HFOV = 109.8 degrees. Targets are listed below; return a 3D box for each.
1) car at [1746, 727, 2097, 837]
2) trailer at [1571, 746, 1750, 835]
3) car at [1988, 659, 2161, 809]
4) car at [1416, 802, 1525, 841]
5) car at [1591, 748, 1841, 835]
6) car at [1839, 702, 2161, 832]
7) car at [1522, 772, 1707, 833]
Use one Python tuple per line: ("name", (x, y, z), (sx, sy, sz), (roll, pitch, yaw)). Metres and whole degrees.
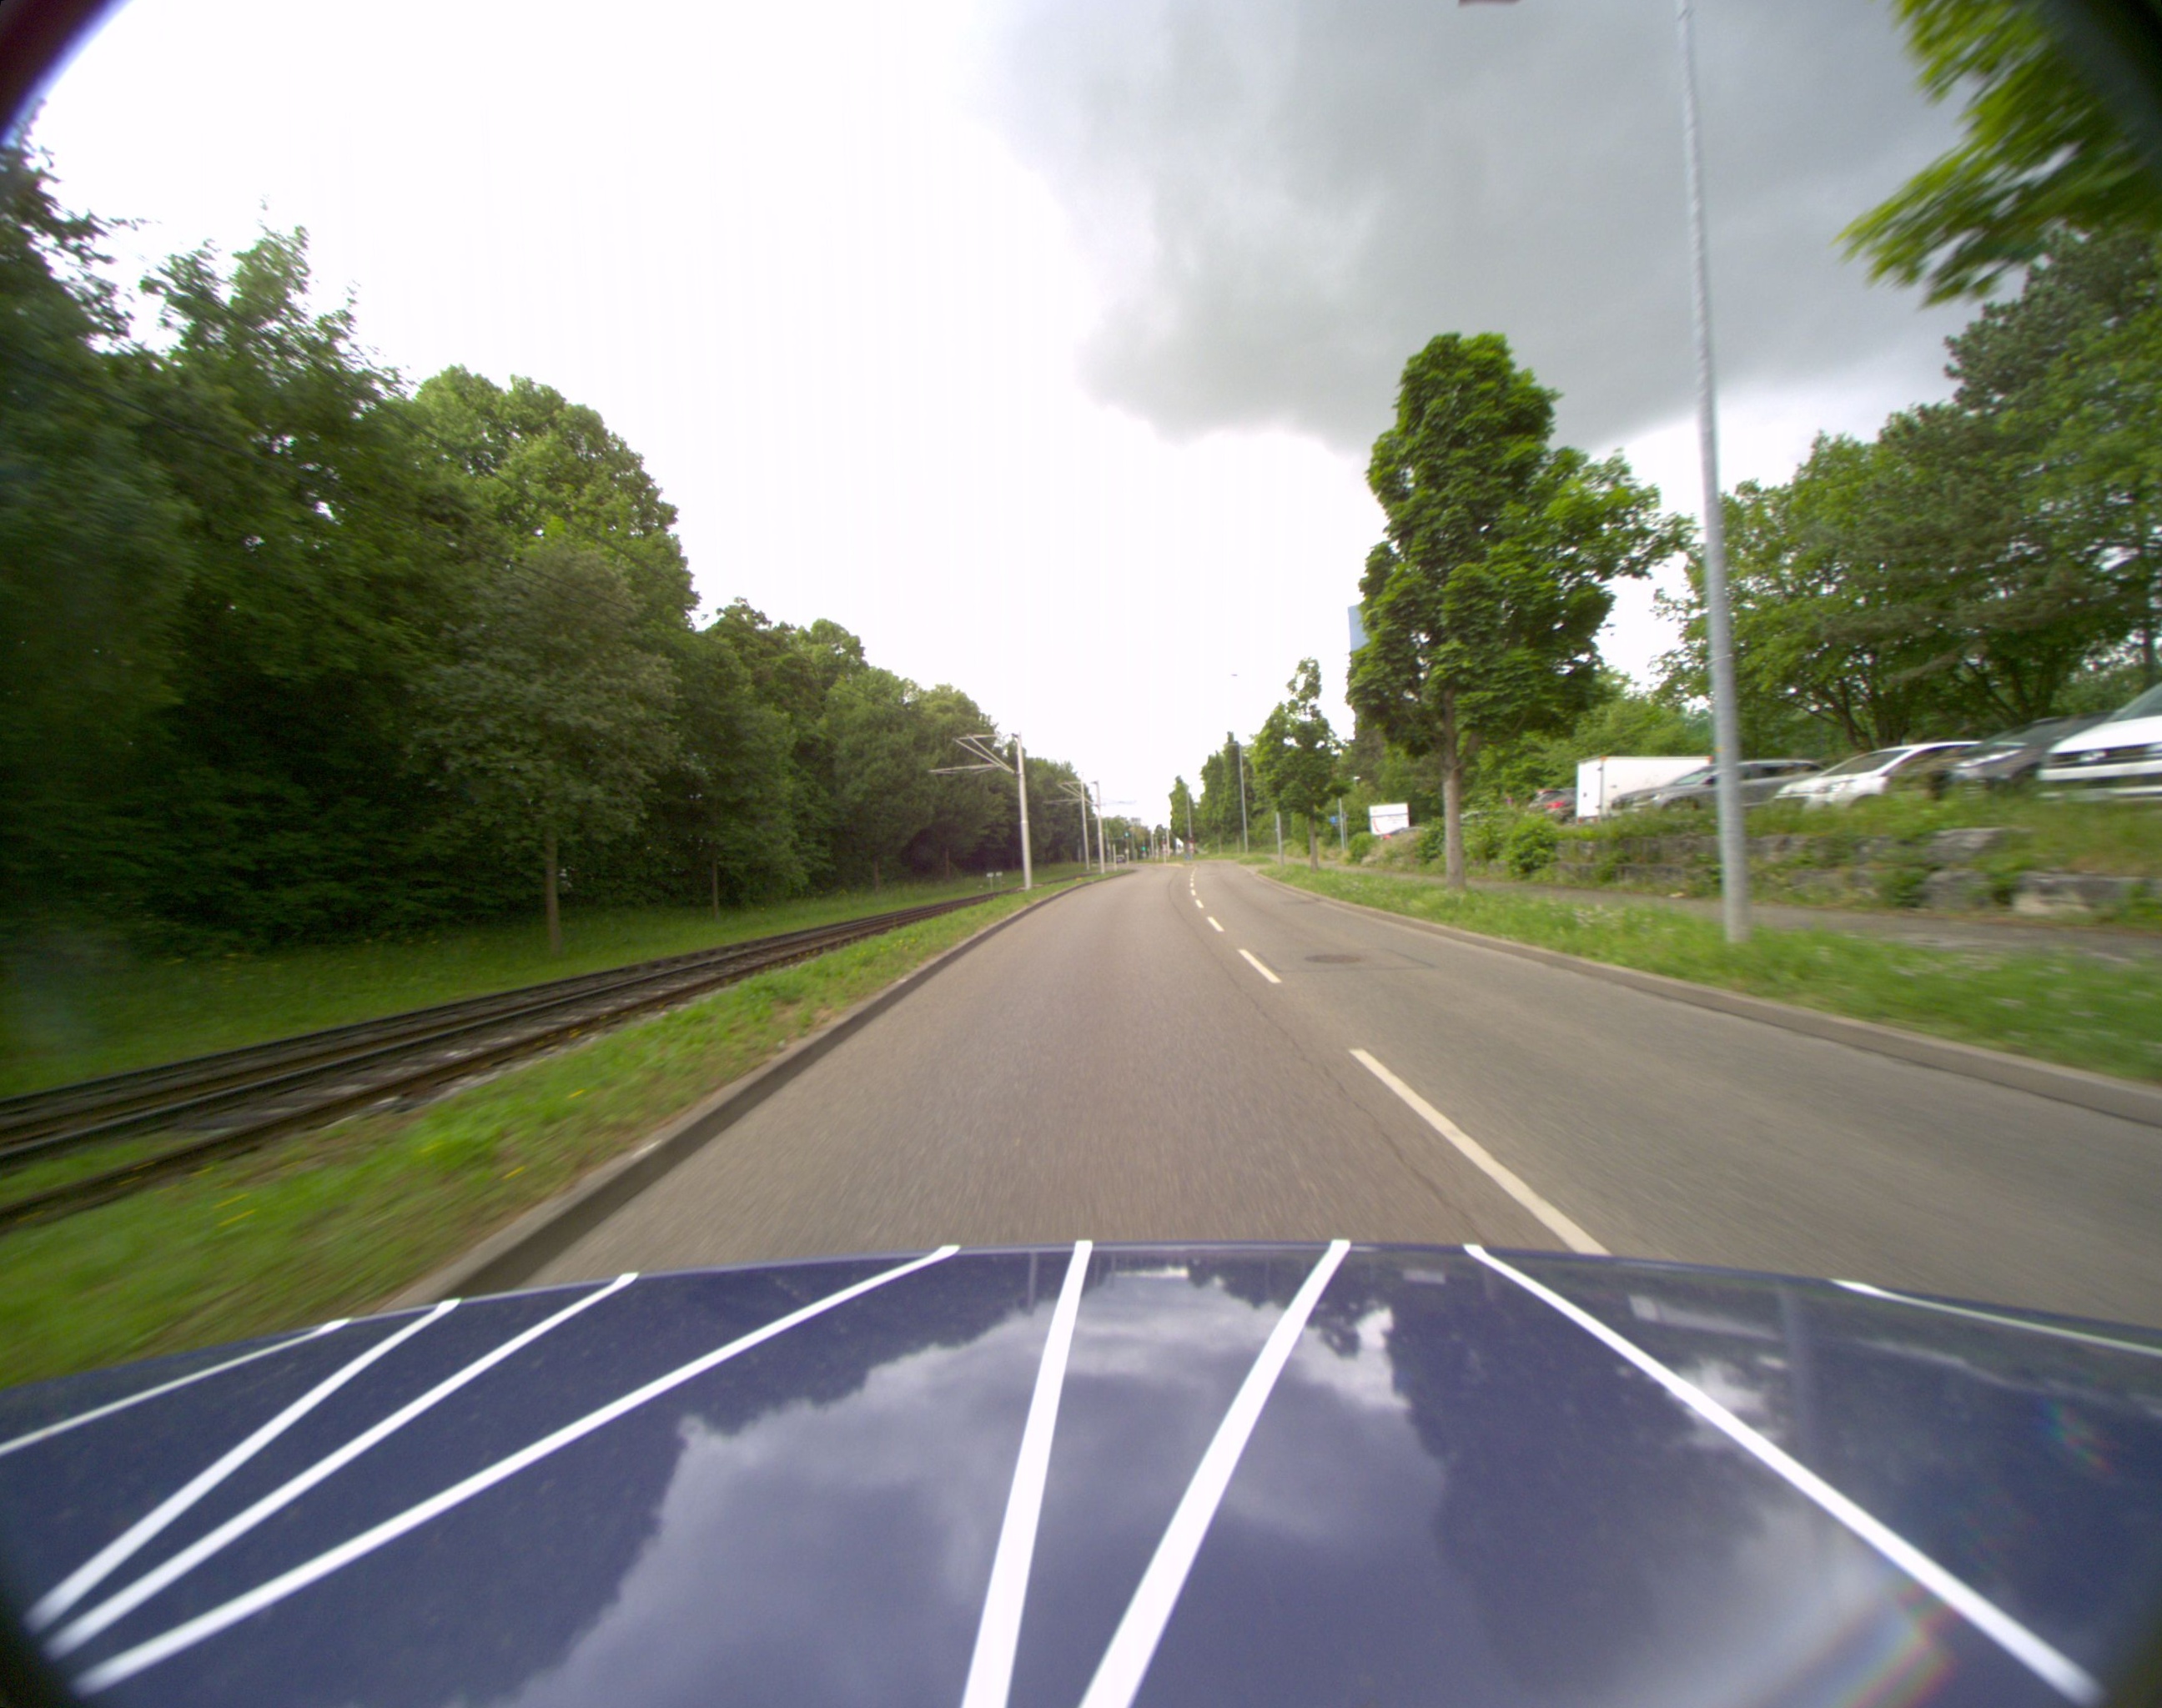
("car", (15.198, -1.237, 13.988), (4.042, 1.503, 1.782), (-4, 0, 10))
("trailer", (15.488, -1.635, 20.467), (3.372, 2.046, 1.679), (-3, 1, 10))
("car", (14.282, -1.530, 8.557), (5.003, 1.539, 2.099), (-4, 0, 10))
("car", (18.116, -1.476, 35.481), (4.042, 1.409, 2.001), (-4, 0, 9))
("car", (14.851, -1.403, 18.030), (4.042, 1.575, 2.001), (-4, 0, 10))
("car", (14.546, -1.279, 11.376), (4.042, 1.539, 2.001), (-4, 0, 10))
("car", (15.950, -1.501, 22.939), (4.042, 1.409, 2.001), (-4, 0, 10))
